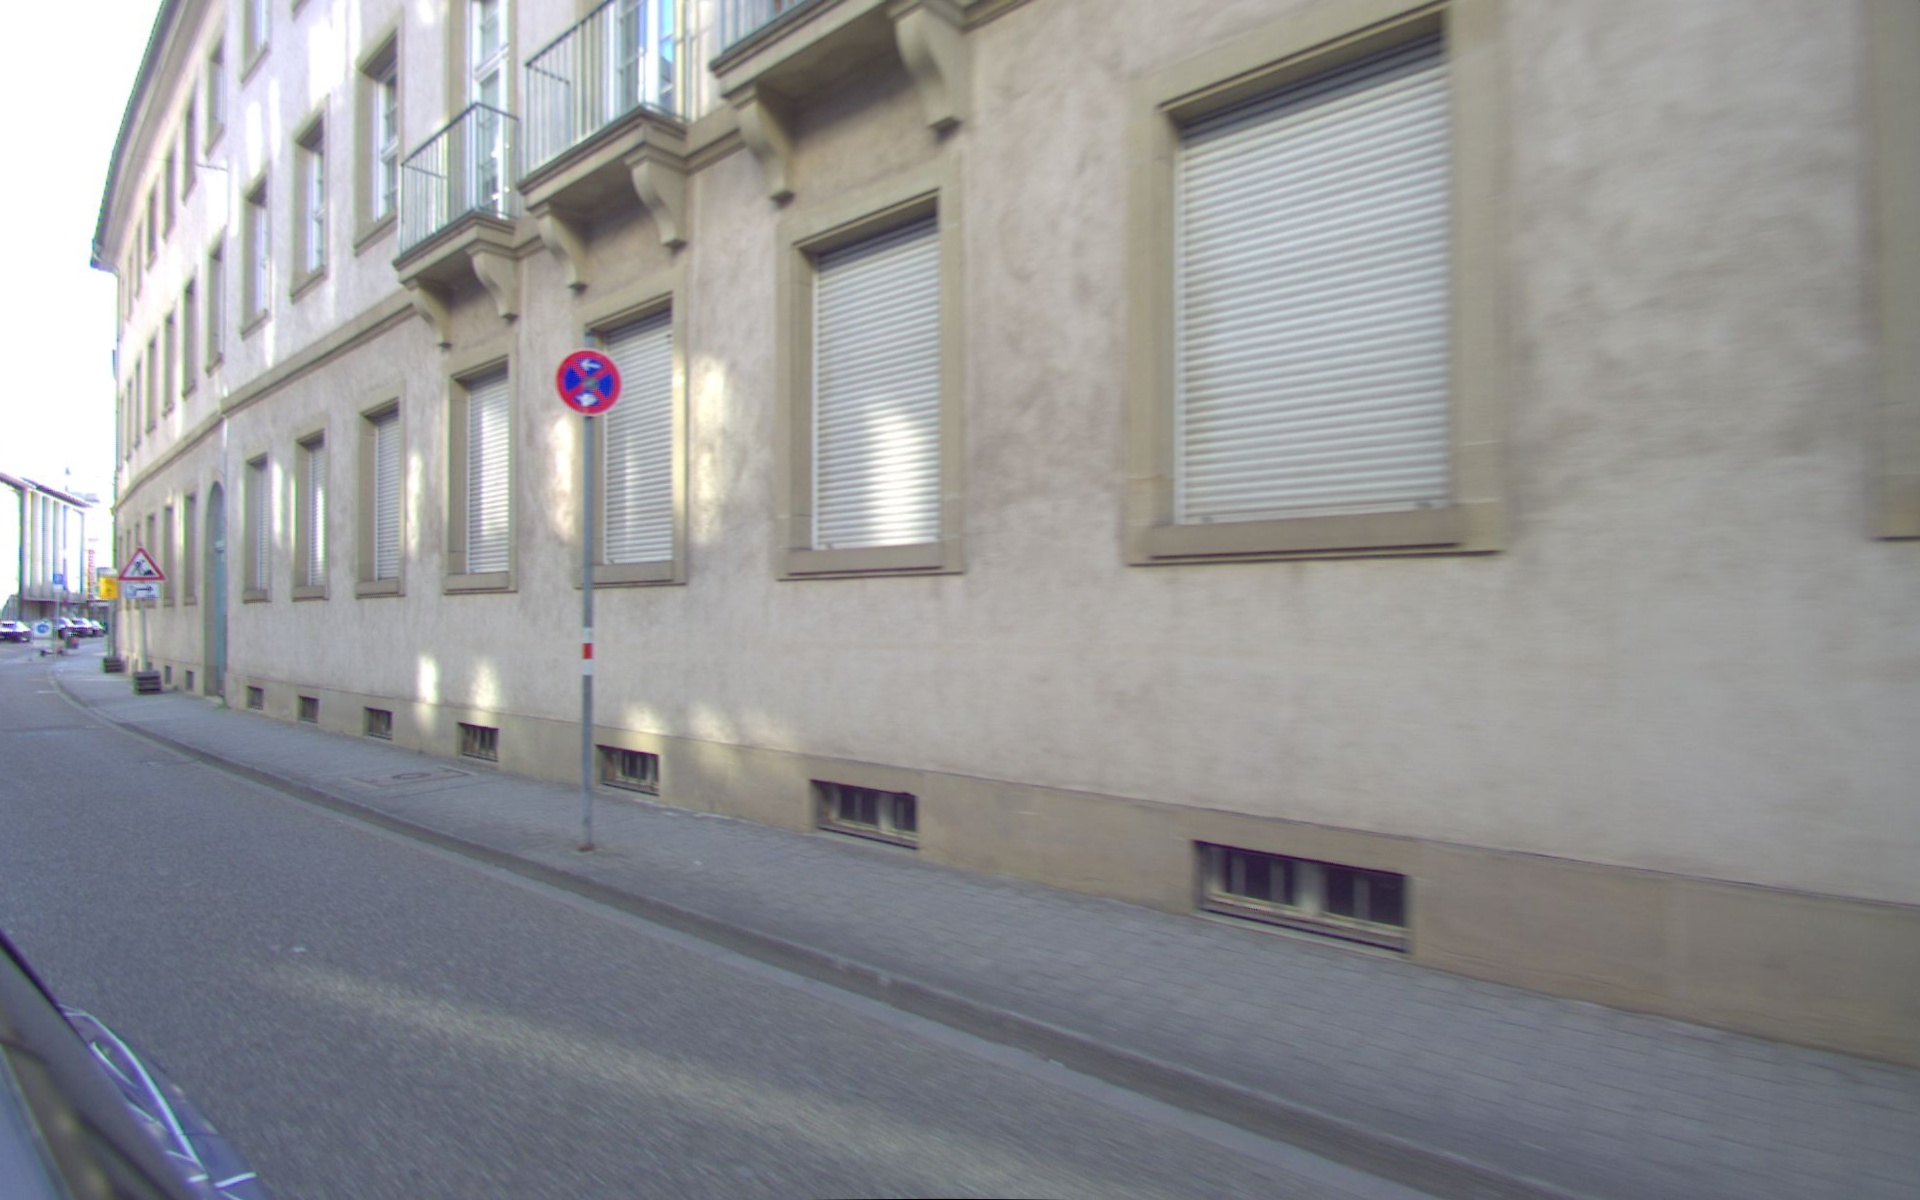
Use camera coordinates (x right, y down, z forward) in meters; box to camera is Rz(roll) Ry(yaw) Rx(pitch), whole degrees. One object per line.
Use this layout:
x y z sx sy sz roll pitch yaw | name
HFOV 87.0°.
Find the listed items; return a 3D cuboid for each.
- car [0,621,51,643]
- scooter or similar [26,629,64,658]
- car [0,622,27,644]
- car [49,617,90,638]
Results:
-66.339 2.254 71.907 1.934 1.419 4.208 -1 -1 -33 | car
-40.136 1.926 44.391 0.461 1.234 1.300 1 -3 -3 | scooter or similar
-62.856 2.182 66.263 1.934 1.419 4.208 -1 -1 -33 | car
-73.302 2.250 83.386 1.934 1.659 4.208 -1 -1 -33 | car
